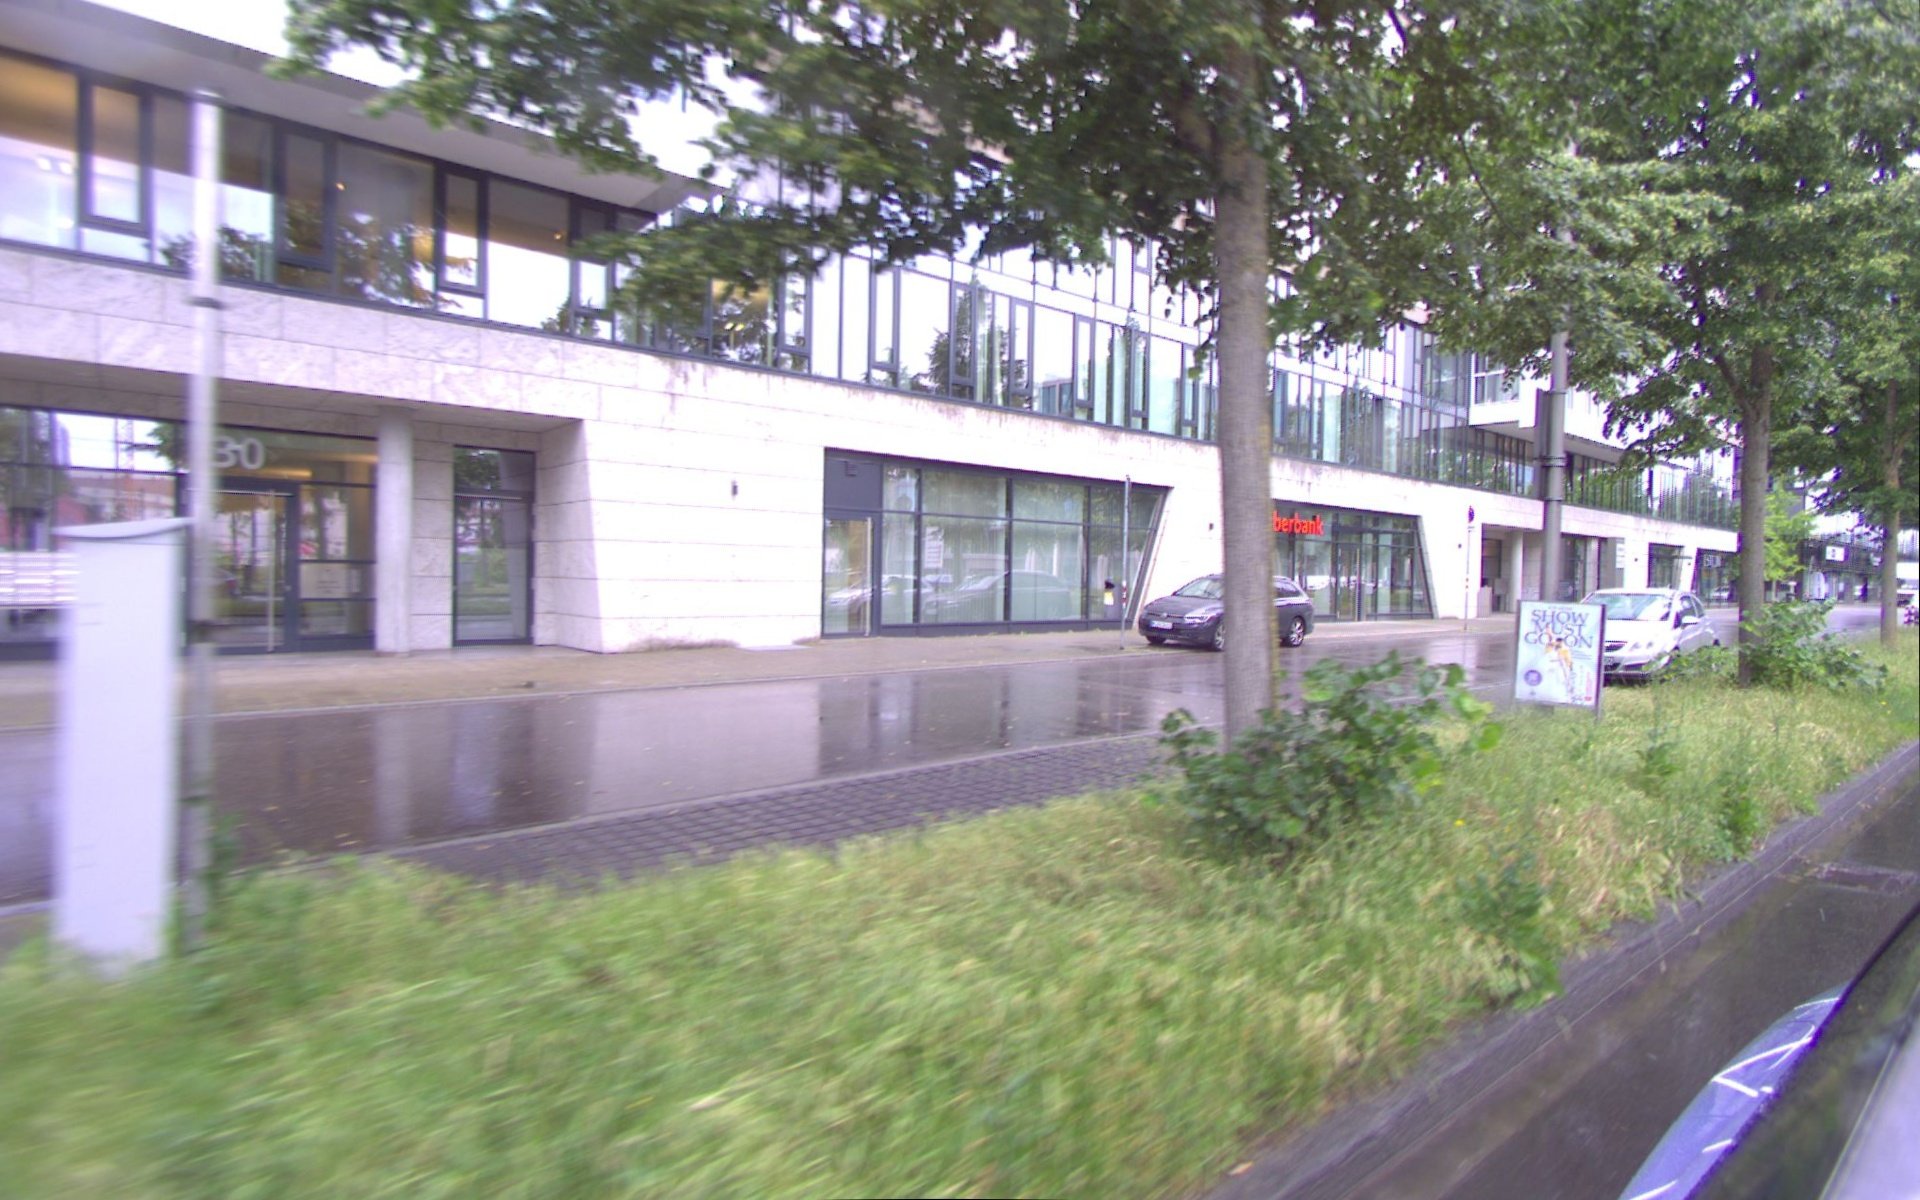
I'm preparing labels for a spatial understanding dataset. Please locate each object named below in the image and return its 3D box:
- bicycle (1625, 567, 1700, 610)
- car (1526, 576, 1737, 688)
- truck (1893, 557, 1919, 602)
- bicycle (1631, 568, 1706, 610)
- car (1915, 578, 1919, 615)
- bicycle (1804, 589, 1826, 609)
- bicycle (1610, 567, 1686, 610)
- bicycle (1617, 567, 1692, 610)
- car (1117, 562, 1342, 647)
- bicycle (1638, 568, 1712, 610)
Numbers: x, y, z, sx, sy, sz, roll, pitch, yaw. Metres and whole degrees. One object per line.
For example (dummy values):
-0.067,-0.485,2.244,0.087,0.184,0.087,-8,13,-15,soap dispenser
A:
31.870,-0.532,45.976,0.693,1.884,2.689,1,1,-34,bicycle
10.942,0.497,16.335,4.645,1.525,1.883,3,0,-44,car
76.876,-1.596,80.705,8.404,3.484,3.028,0,1,-43,truck
32.482,-0.518,46.437,0.693,1.884,2.689,1,1,-34,bicycle
40.986,-0.110,41.989,3.591,1.509,1.628,1,1,-41,car
48.555,-0.062,57.441,2.026,1.144,0.519,0,1,-38,bicycle
30.636,-0.532,45.106,0.693,1.884,2.689,1,1,-34,bicycle
31.226,-0.536,45.542,0.693,1.884,2.689,1,1,-34,bicycle
5.709,0.082,21.082,4.944,1.519,1.999,1,3,-40,car
33.083,-0.520,46.890,0.693,1.884,2.689,1,1,-34,bicycle
